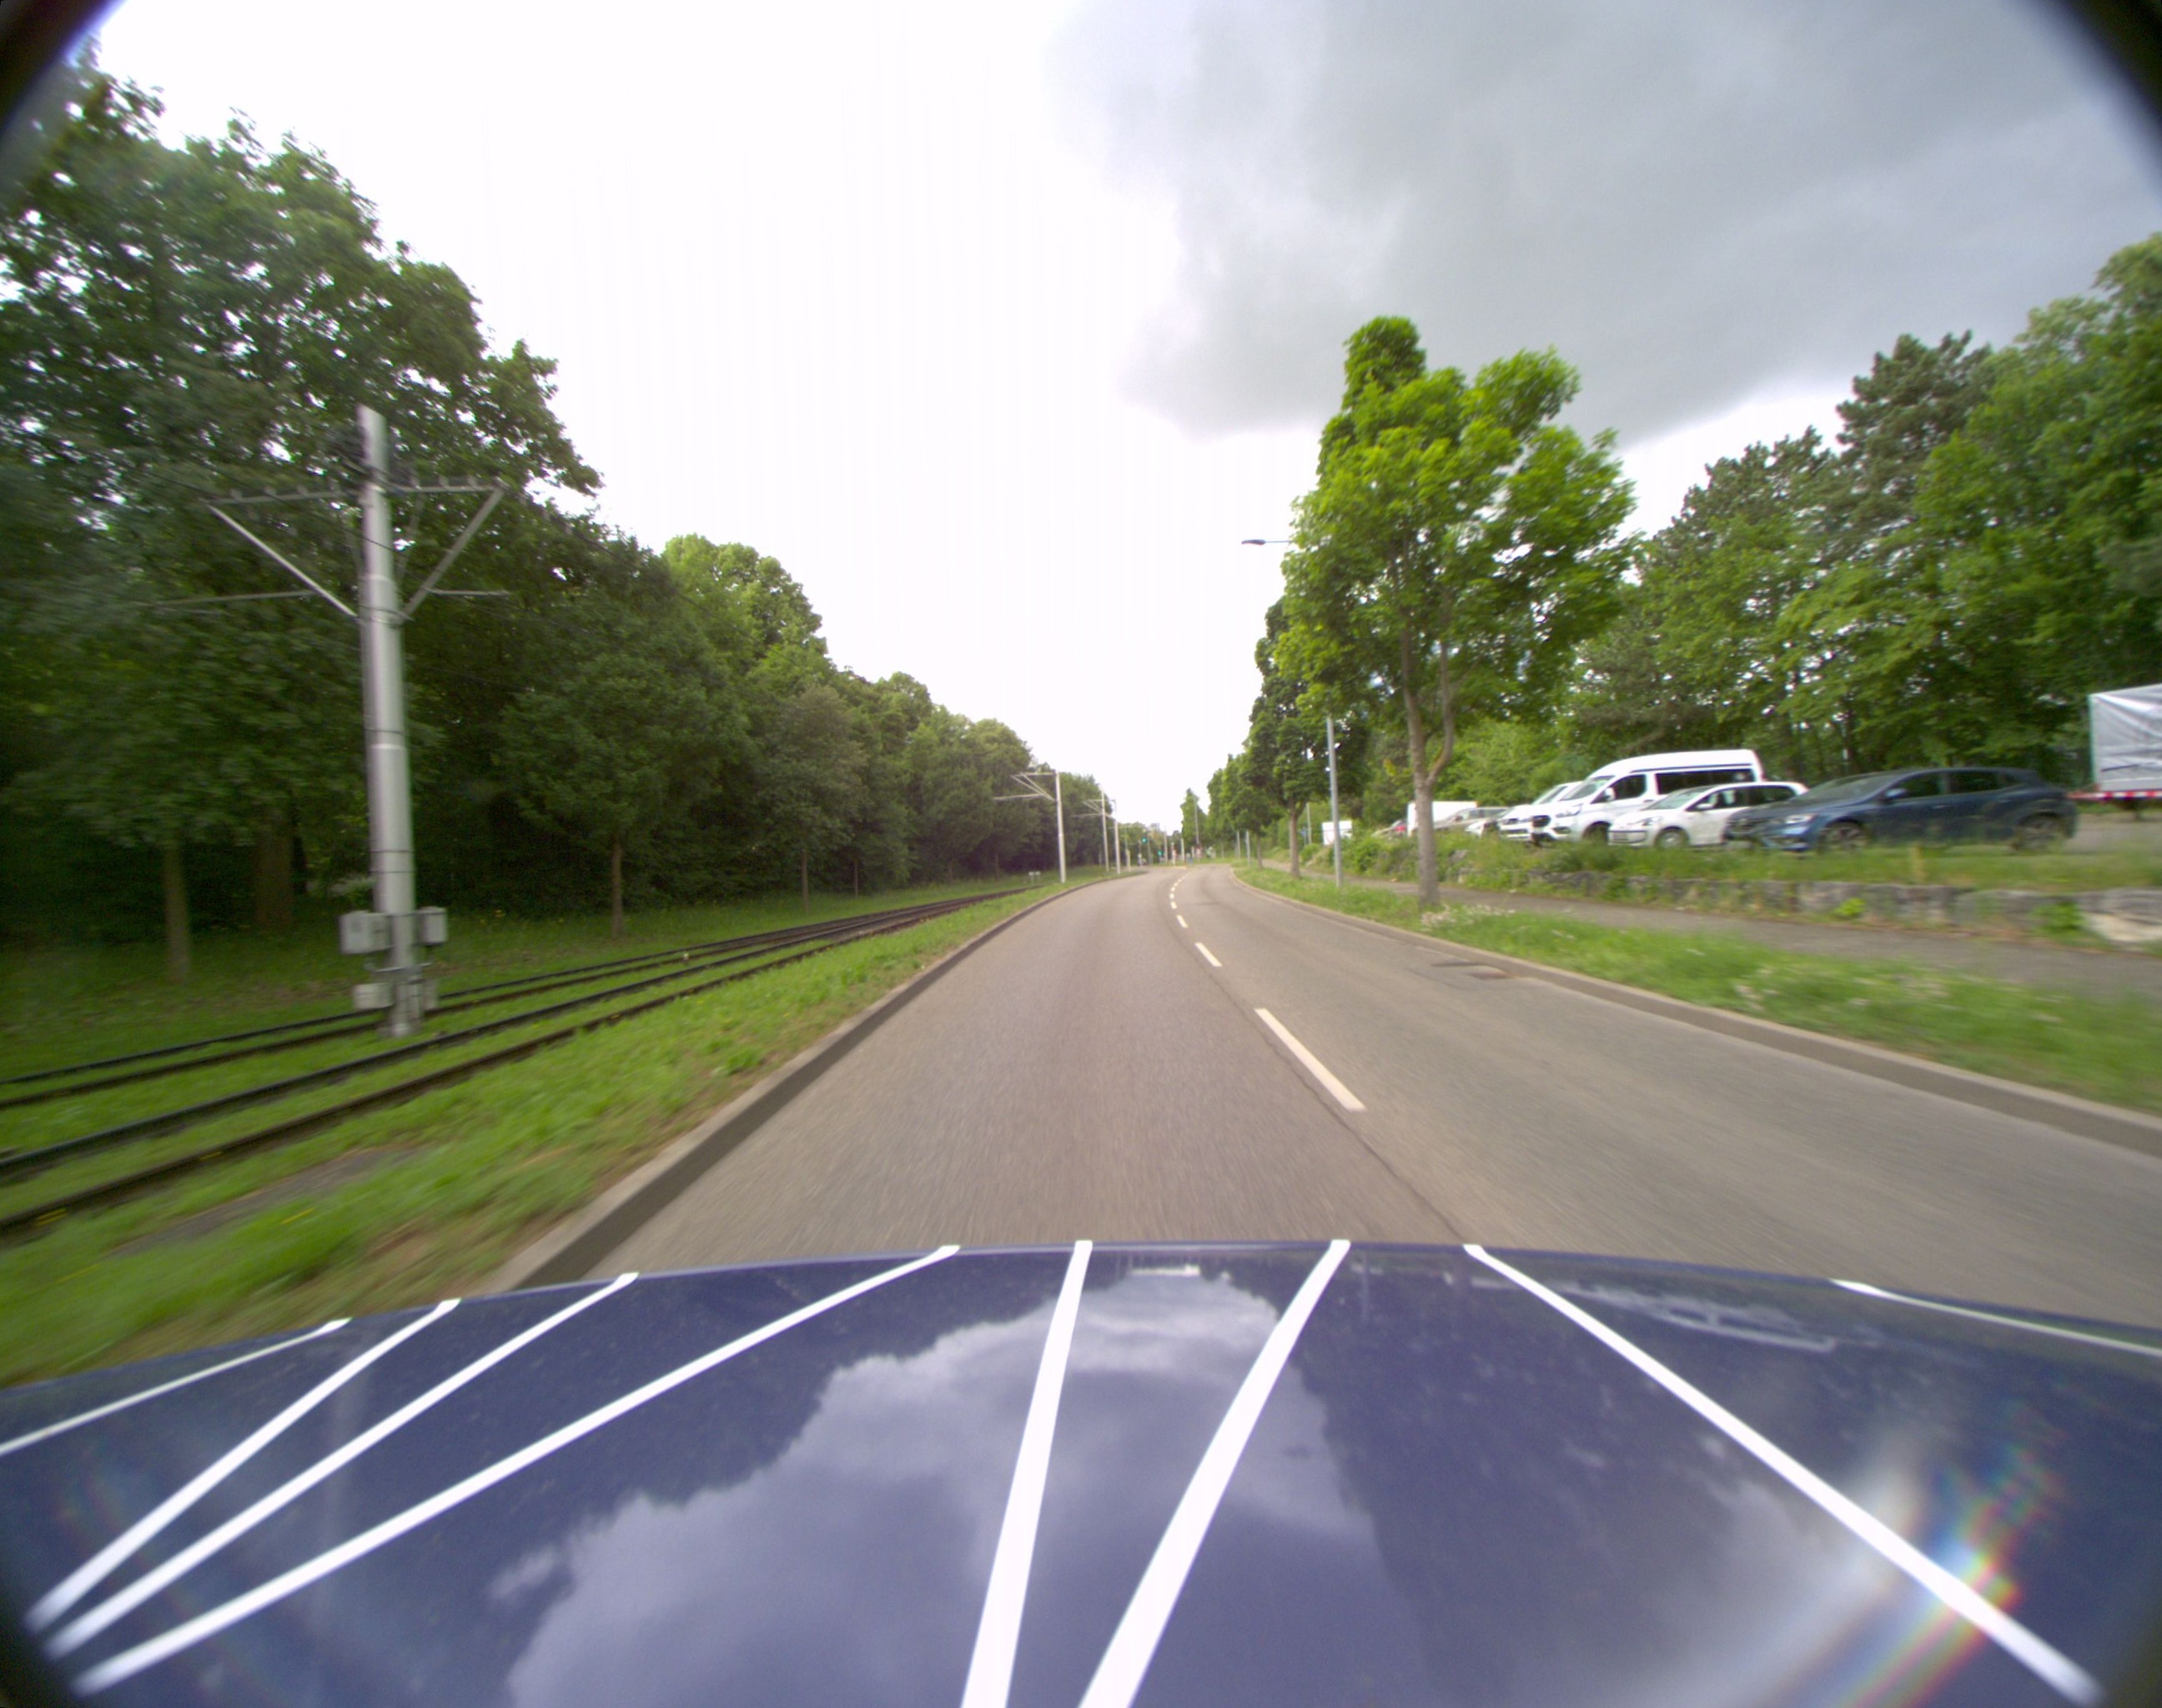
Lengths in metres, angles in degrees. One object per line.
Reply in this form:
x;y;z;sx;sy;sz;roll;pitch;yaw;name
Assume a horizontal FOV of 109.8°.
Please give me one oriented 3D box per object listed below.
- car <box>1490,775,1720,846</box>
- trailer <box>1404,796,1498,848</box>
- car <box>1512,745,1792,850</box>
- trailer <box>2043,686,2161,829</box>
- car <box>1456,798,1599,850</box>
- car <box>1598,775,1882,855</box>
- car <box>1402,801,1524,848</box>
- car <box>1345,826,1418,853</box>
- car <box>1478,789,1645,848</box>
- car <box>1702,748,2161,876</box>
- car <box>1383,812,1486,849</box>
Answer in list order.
14.999;-1.195;22.082;5.002;1.539;2.099;-4;0;11;car
16.392;-1.389;33.809;3.371;2.046;1.679;-3;0;12;trailer
14.204;-1.331;19.251;5.166;2.094;2.216;-4;0;7;car
24.360;-2.131;14.802;2.653;3.057;7.197;-4;1;8;trailer
16.036;-1.033;27.491;4.041;1.503;1.782;-4;0;11;car
13.811;-0.772;16.151;4.386;1.308;1.564;-4;0;7;car
15.687;-1.174;31.388;4.041;1.574;2.002;-4;0;11;car
19.258;-0.920;48.861;4.041;1.409;2.002;-4;0;11;car
15.463;-1.103;24.690;4.041;1.539;2.002;-4;0;11;car
13.670;-0.615;12.427;5.166;1.552;1.887;-4;0;7;car
16.782;-1.075;36.281;4.041;1.409;2.002;-4;0;11;car
